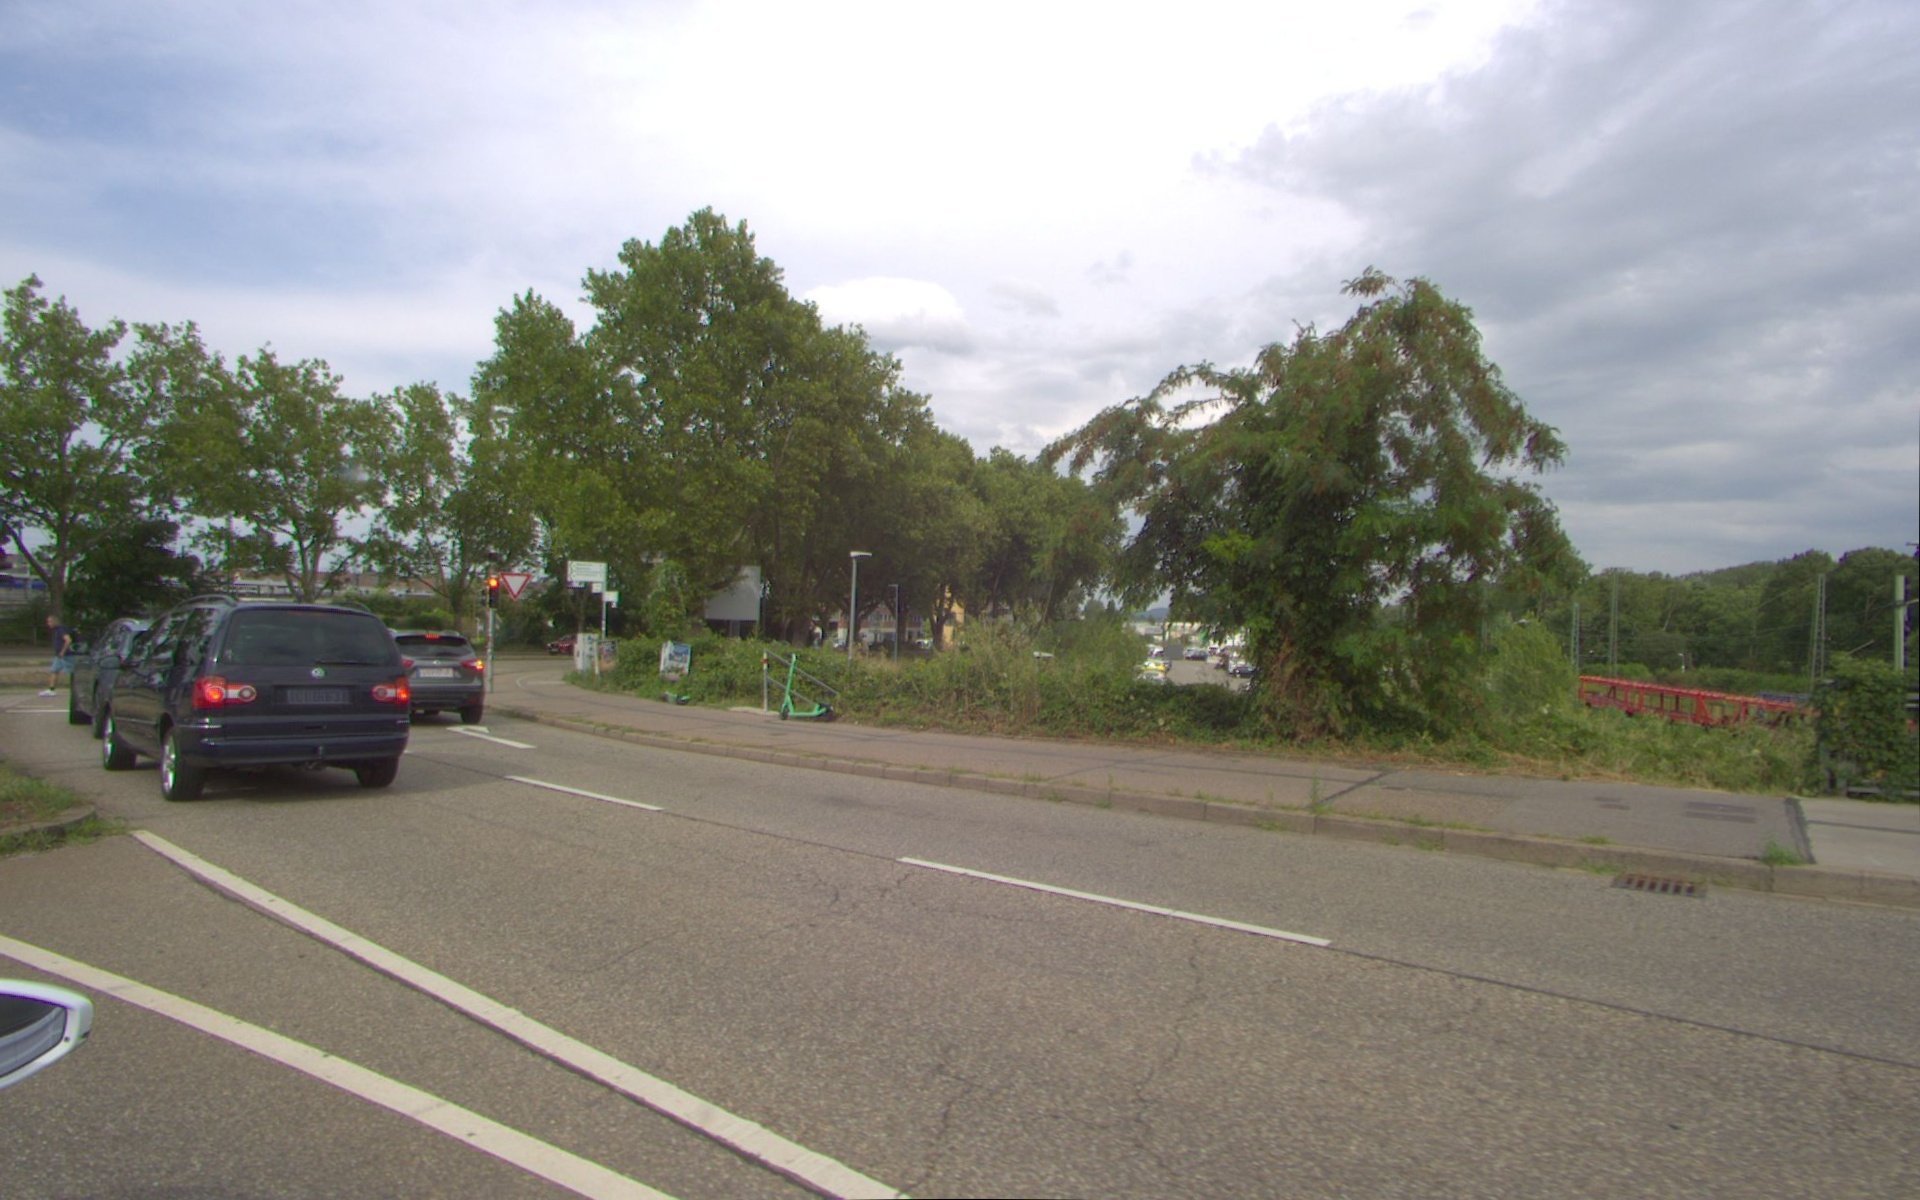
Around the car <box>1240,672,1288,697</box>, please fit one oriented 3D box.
[{"bbox_3d":[27.791,7.751,91.562,3.923,2.040,1.762,1,-1,9],"label":"car"}]

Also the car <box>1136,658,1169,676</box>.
[{"bbox_3d":[24.192,8.381,125.796,3.926,2.040,1.761,1,-1,15],"label":"car"}]

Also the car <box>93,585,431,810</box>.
[{"bbox_3d":[-6.964,0.848,9.830,4.091,1.746,1.743,-1,-4,41],"label":"car"}]

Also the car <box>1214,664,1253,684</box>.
[{"bbox_3d":[30.425,8.237,111.378,3.923,2.040,1.762,1,-1,9],"label":"car"}]

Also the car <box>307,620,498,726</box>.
[{"bbox_3d":[-9.965,1.235,17.767,4.093,1.663,1.742,-1,-4,43],"label":"car"}]

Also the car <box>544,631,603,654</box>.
[{"bbox_3d":[-26.515,2.899,68.809,1.671,1.466,3.960,1,-1,17],"label":"car"}]

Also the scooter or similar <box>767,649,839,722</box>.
[{"bbox_3d":[-2.683,1.445,17.102,1.262,1.198,0.396,-1,-1,32],"label":"scooter or similar"}]

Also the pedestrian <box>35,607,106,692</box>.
[{"bbox_3d":[-18.764,1.039,21.155,1.039,1.732,0.846,3,-2,-41],"label":"pedestrian"}]

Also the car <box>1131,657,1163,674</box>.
[{"bbox_3d":[24.027,8.438,128.693,3.926,2.040,1.761,1,-1,15],"label":"car"}]

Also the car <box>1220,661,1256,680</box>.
[{"bbox_3d":[33.532,8.515,120.719,3.923,2.040,1.762,1,-1,9],"label":"car"}]

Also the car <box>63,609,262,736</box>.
[{"bbox_3d":[-11.823,1.015,14.741,4.112,1.604,1.682,-1,-4,43],"label":"car"}]

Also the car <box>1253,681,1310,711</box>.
[{"bbox_3d":[24.834,7.376,77.396,3.923,2.040,1.762,1,-1,9],"label":"car"}]
